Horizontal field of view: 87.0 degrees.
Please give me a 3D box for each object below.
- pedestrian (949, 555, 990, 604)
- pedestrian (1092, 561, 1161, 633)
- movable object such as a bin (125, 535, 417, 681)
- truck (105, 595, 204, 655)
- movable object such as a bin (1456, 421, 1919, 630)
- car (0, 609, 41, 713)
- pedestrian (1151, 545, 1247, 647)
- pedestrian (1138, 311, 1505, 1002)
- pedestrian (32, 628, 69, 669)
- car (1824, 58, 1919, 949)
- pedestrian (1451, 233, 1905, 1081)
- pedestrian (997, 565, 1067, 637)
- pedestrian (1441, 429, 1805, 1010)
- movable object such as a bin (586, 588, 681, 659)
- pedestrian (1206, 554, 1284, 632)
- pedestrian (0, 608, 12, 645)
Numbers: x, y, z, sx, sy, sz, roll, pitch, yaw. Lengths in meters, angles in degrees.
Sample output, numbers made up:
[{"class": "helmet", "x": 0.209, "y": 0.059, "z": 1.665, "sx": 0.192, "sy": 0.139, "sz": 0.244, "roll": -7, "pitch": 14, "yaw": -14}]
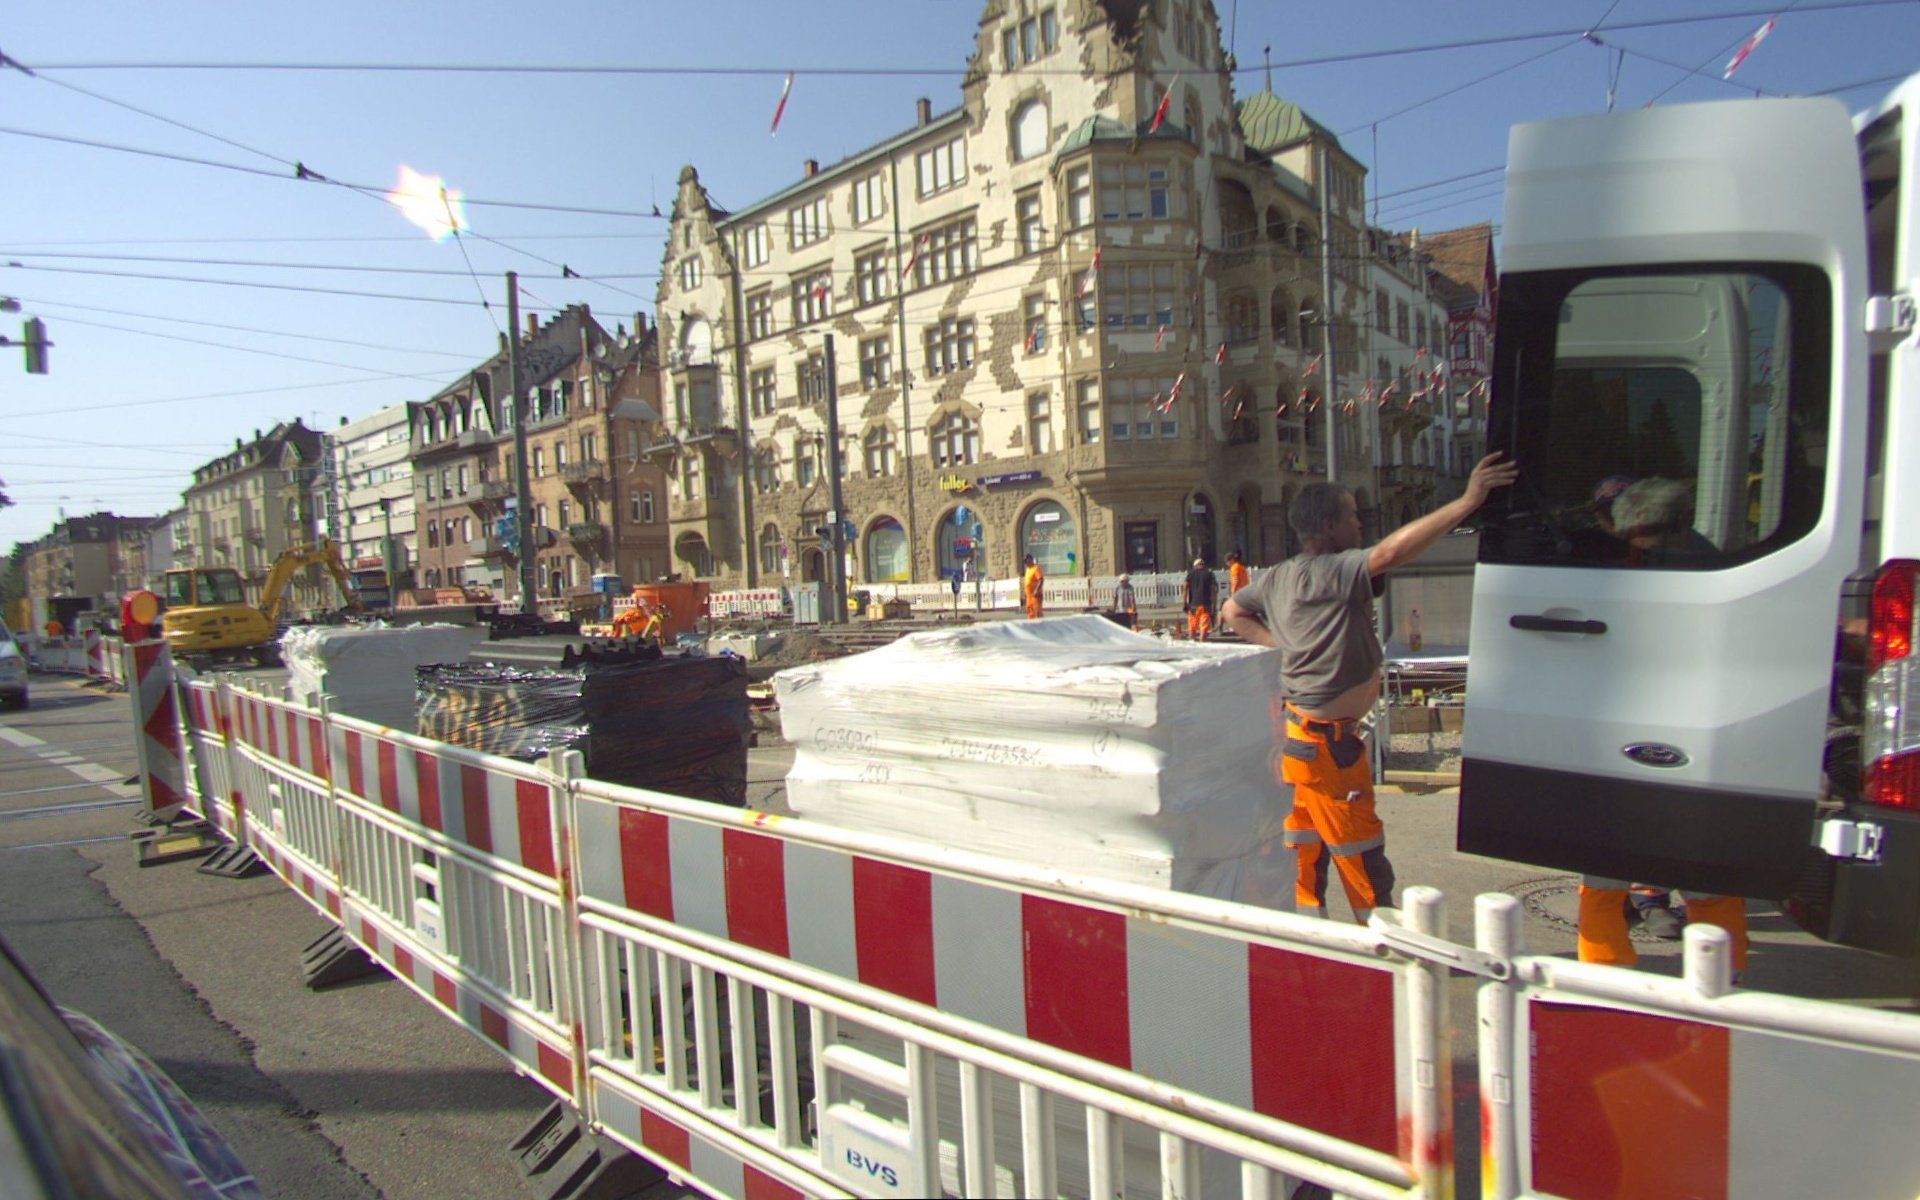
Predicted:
[{"class": "pedestrian", "x": 0.344, "y": -0.753, "z": 37.571, "sx": 1.145, "sy": 1.754, "sz": 0.905, "roll": -2, "pitch": 2, "yaw": 41}, {"class": "pedestrian", "x": 3.517, "y": -0.067, "z": 21.337, "sx": 0.917, "sy": 1.452, "sz": 1.130, "roll": -2, "pitch": 2, "yaw": 42}, {"class": "movable object such as a bin", "x": -17.855, "y": 0.070, "z": 26.766, "sx": 2.102, "sy": 3.370, "sz": 6.120, "roll": -3, "pitch": 2, "yaw": 22}, {"class": "truck", "x": -33.568, "y": 1.039, "z": 42.087, "sx": 7.050, "sy": 2.238, "sz": 2.135, "roll": -2, "pitch": 1, "yaw": 43}, {"class": "movable object such as a bin", "x": 14.456, "y": -1.211, "z": 19.424, "sx": 8.346, "sy": 3.354, "sz": 2.816, "roll": -2, "pitch": 1, "yaw": 43}, {"class": "car", "x": -18.315, "y": 1.115, "z": 18.276, "sx": 5.224, "sy": 1.708, "sz": 1.973, "roll": -2, "pitch": 1, "yaw": 42}, {"class": "pedestrian", "x": 4.023, "y": -0.076, "z": 17.072, "sx": 1.126, "sy": 1.601, "sz": 1.024, "roll": -3, "pitch": 1, "yaw": -22}, {"class": "pedestrian", "x": 1.189, "y": 0.150, "z": 3.499, "sx": 0.724, "sy": 2.028, "sz": 0.910, "roll": -3, "pitch": 1, "yaw": -15}, {"class": "pedestrian", "x": -39.825, "y": 2.114, "z": 44.320, "sx": 1.095, "sy": 1.723, "sz": 1.021, "roll": -2, "pitch": 1, "yaw": 40}, {"class": "car", "x": 5.132, "y": -0.318, "z": 1.722, "sx": 5.150, "sy": 2.749, "sz": 2.210, "roll": -2, "pitch": 1, "yaw": 30}, {"class": "pedestrian", "x": 2.109, "y": 0.133, "z": 3.001, "sx": 0.725, "sy": 2.028, "sz": 0.908, "roll": -3, "pitch": 1, "yaw": -42}, {"class": "pedestrian", "x": 1.539, "y": 0.015, "z": 21.557, "sx": 0.917, "sy": 1.452, "sz": 1.130, "roll": -2, "pitch": 2, "yaw": 42}, {"class": "pedestrian", "x": 2.606, "y": 0.400, "z": 4.065, "sx": 0.724, "sy": 2.028, "sz": 0.910, "roll": -3, "pitch": 1, "yaw": -17}, {"class": "movable object such as a bin", "x": -5.982, "y": 0.424, "z": 18.451, "sx": 0.741, "sy": 1.178, "sz": 2.294, "roll": -4, "pitch": 1, "yaw": -41}, {"class": "pedestrian", "x": 5.554, "y": -0.136, "z": 19.720, "sx": 1.020, "sy": 1.452, "sz": 1.130, "roll": -2, "pitch": 2, "yaw": 42}, {"class": "pedestrian", "x": -54.513, "y": 1.530, "z": 57.230, "sx": 0.896, "sy": 2.028, "sz": 0.915, "roll": -5, "pitch": 3, "yaw": -22}]
